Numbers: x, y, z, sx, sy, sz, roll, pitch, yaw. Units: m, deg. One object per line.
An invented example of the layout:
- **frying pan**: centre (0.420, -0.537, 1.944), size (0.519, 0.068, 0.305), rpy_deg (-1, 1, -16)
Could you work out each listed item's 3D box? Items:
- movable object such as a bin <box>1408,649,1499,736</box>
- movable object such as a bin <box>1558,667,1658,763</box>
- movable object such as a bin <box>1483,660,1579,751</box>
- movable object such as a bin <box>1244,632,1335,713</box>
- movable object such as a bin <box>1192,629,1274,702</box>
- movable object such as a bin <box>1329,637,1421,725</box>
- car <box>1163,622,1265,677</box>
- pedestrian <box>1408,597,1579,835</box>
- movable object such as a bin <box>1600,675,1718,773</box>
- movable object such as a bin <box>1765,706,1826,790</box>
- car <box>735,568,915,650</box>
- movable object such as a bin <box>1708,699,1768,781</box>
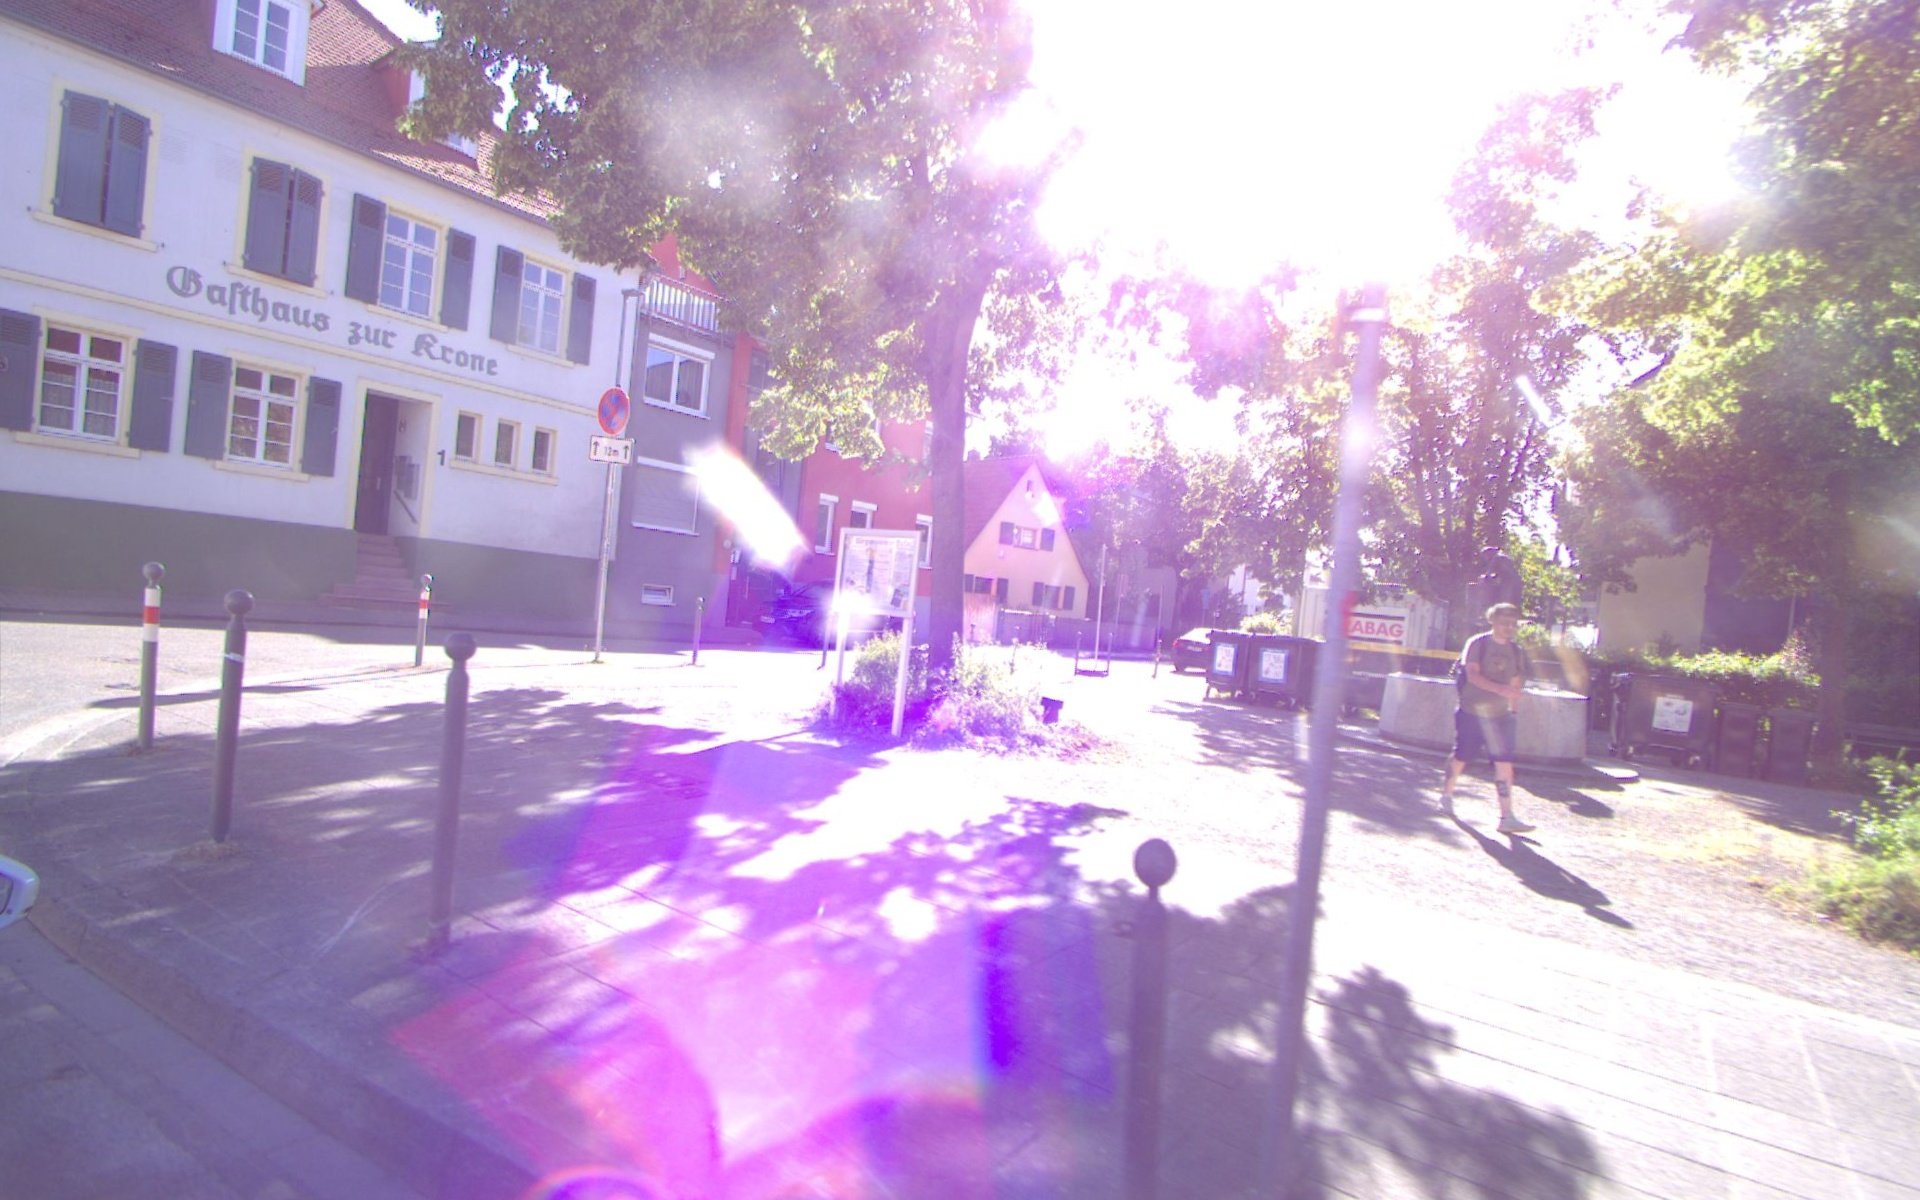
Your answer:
- **movable object such as a bin**: centre (8.198, 1.536, 16.701), size (1.002, 1.270, 0.967), rpy_deg (6, -2, 43)
- **movable object such as a bin**: centre (9.780, 1.732, 15.183), size (1.002, 1.270, 0.967), rpy_deg (6, -2, 43)
- **movable object such as a bin**: centre (9.043, 1.664, 15.930), size (1.002, 1.270, 0.967), rpy_deg (6, -2, 43)
- **movable object such as a bin**: centre (5.930, 1.298, 18.117), size (1.133, 1.273, 0.967), rpy_deg (6, -2, 44)
- **movable object such as a bin**: centre (5.265, 1.268, 19.426), size (1.091, 1.271, 0.966), rpy_deg (6, 0, 44)
- **movable object such as a bin**: centre (7.263, 1.412, 17.589), size (1.091, 1.356, 0.967), rpy_deg (6, -2, 44)
- **car**: centre (8.410, 1.669, 33.036), size (1.764, 1.493, 4.121), rpy_deg (7, 1, 35)
- **pedestrian**: centre (4.192, 0.881, 7.954), size (0.650, 1.739, 0.824), rpy_deg (6, 1, -16)
- **movable object such as a bin**: centre (10.471, 1.833, 15.122), size (1.111, 1.270, 1.030), rpy_deg (7, -1, 20)
- **movable object such as a bin**: centre (12.009, 2.120, 14.460), size (0.553, 1.105, 0.706), rpy_deg (6, -2, 43)
- **car**: centre (-3.236, 0.274, 24.846), size (1.927, 1.704, 4.261), rpy_deg (4, -1, 36)
- **movable object such as a bin**: centre (11.516, 2.071, 14.892), size (0.553, 1.105, 0.706), rpy_deg (6, -2, 43)
